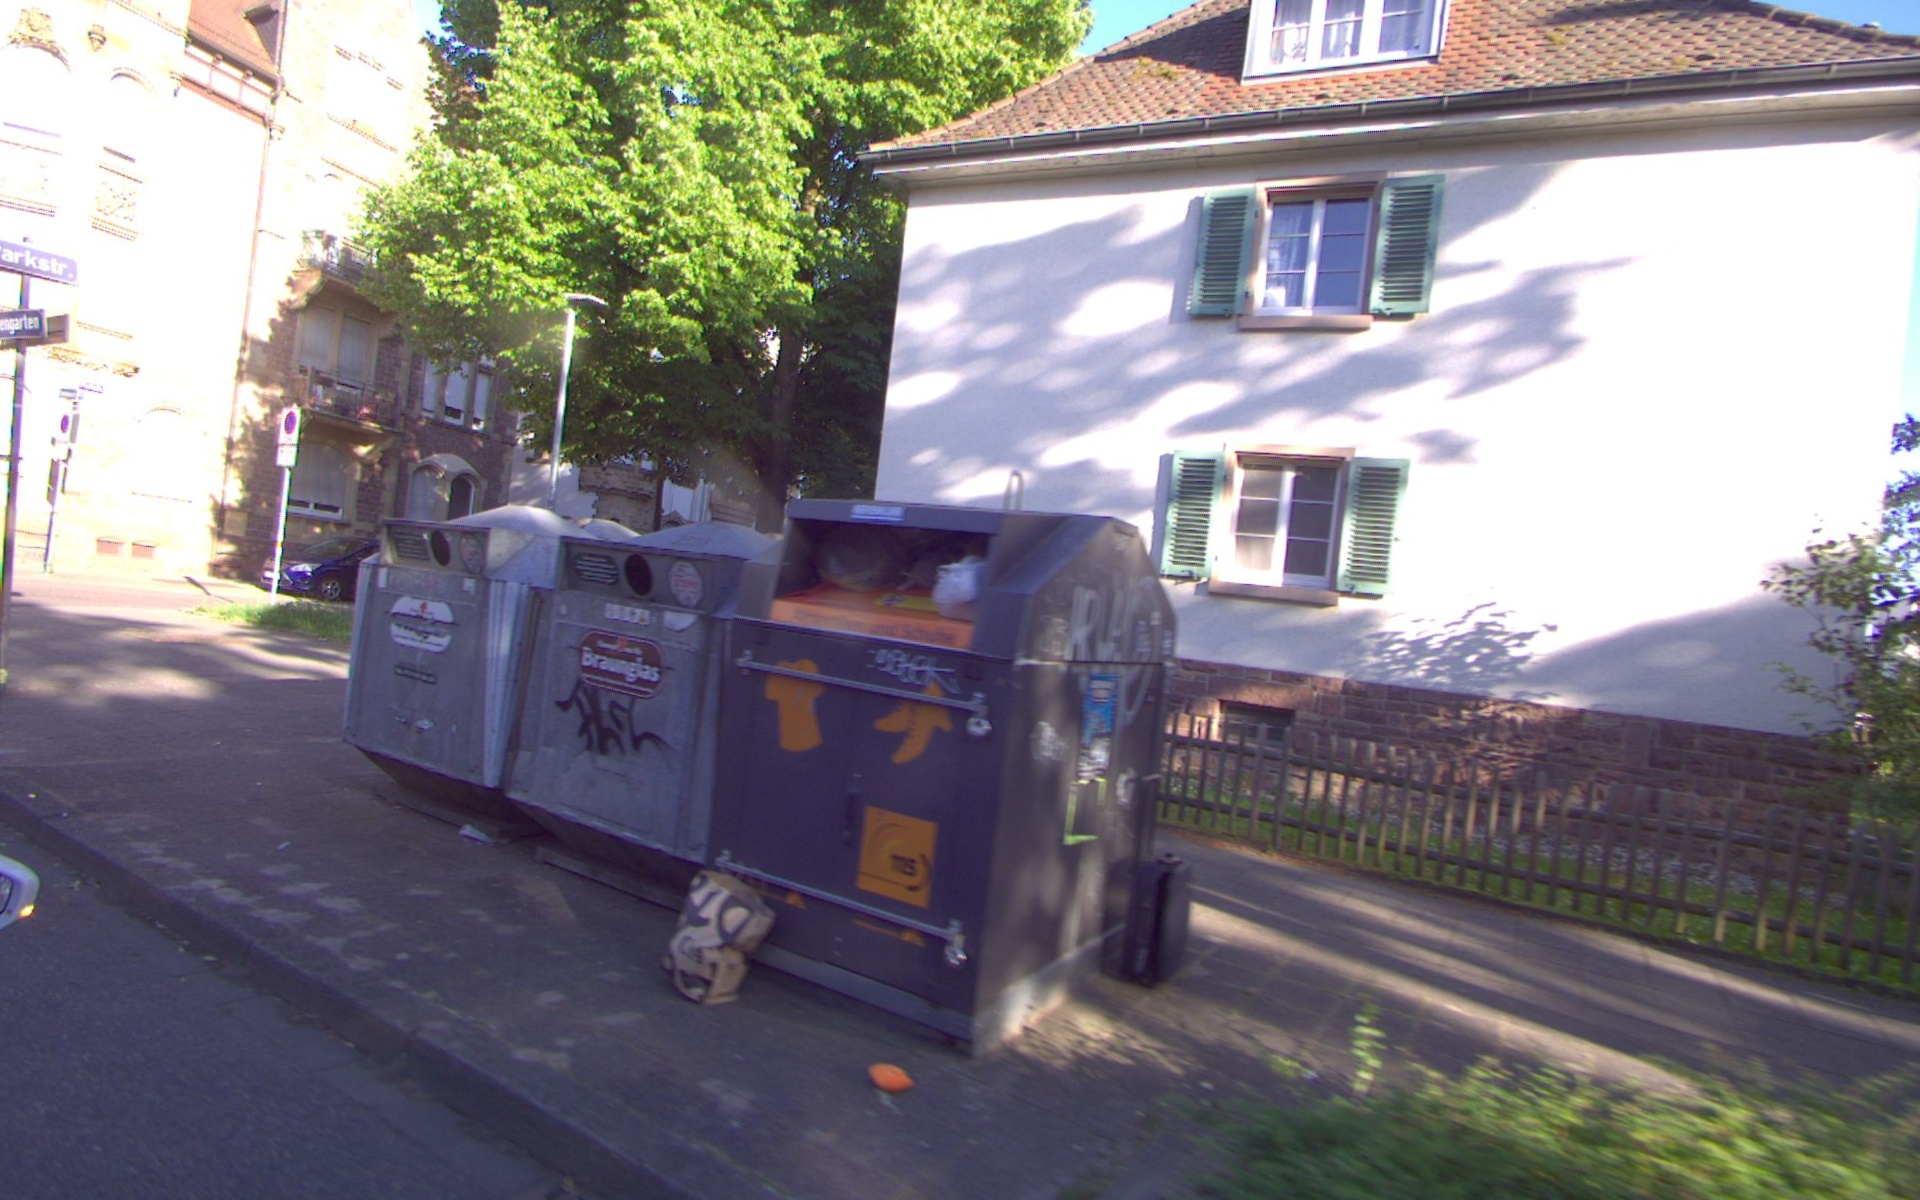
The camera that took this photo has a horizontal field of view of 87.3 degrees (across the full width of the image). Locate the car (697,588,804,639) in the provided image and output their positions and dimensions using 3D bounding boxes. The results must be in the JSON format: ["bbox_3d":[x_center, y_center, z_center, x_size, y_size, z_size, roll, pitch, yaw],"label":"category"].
[{"bbox_3d":[-8.565,0.597,41.573,1.704,1.592,4.709,6,-3,25],"label":"car"}]

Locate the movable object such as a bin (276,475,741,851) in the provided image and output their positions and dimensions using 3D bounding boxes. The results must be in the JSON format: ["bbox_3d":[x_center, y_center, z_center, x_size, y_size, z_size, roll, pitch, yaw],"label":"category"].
[{"bbox_3d":[-2.471,0.310,5.646,1.613,1.676,1.589,6,-2,31],"label":"movable object such as a bin"}]

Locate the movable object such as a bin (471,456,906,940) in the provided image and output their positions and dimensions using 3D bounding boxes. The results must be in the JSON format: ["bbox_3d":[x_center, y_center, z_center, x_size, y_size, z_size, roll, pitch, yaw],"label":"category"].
[{"bbox_3d":[-1.237,0.380,4.706,1.363,1.848,1.149,6,-2,31],"label":"movable object such as a bin"}]

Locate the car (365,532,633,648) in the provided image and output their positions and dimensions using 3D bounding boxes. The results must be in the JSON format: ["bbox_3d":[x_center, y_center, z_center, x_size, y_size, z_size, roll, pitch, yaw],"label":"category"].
[{"bbox_3d":[-8.058,-0.167,17.639,3.927,1.573,2.001,5,-3,22],"label":"car"}]

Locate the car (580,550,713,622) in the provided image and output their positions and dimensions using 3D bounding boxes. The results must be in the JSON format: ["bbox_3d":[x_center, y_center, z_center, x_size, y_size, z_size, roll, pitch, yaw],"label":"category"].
[{"bbox_3d":[-11.028,-0.427,35.746,1.939,1.998,4.498,8,-1,22],"label":"car"}]

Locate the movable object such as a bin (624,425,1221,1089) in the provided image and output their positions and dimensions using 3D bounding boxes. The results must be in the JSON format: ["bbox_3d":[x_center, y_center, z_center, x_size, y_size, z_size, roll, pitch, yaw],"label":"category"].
[{"bbox_3d":[-0.006,0.476,4.016,1.370,1.875,1.924,6,-2,31],"label":"movable object such as a bin"}]

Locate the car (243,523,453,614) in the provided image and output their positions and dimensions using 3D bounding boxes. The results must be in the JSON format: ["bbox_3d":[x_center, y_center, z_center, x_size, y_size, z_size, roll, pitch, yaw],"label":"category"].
[{"bbox_3d":[-15.410,-0.730,25.606,1.703,1.640,4.262,8,-2,22],"label":"car"}]
